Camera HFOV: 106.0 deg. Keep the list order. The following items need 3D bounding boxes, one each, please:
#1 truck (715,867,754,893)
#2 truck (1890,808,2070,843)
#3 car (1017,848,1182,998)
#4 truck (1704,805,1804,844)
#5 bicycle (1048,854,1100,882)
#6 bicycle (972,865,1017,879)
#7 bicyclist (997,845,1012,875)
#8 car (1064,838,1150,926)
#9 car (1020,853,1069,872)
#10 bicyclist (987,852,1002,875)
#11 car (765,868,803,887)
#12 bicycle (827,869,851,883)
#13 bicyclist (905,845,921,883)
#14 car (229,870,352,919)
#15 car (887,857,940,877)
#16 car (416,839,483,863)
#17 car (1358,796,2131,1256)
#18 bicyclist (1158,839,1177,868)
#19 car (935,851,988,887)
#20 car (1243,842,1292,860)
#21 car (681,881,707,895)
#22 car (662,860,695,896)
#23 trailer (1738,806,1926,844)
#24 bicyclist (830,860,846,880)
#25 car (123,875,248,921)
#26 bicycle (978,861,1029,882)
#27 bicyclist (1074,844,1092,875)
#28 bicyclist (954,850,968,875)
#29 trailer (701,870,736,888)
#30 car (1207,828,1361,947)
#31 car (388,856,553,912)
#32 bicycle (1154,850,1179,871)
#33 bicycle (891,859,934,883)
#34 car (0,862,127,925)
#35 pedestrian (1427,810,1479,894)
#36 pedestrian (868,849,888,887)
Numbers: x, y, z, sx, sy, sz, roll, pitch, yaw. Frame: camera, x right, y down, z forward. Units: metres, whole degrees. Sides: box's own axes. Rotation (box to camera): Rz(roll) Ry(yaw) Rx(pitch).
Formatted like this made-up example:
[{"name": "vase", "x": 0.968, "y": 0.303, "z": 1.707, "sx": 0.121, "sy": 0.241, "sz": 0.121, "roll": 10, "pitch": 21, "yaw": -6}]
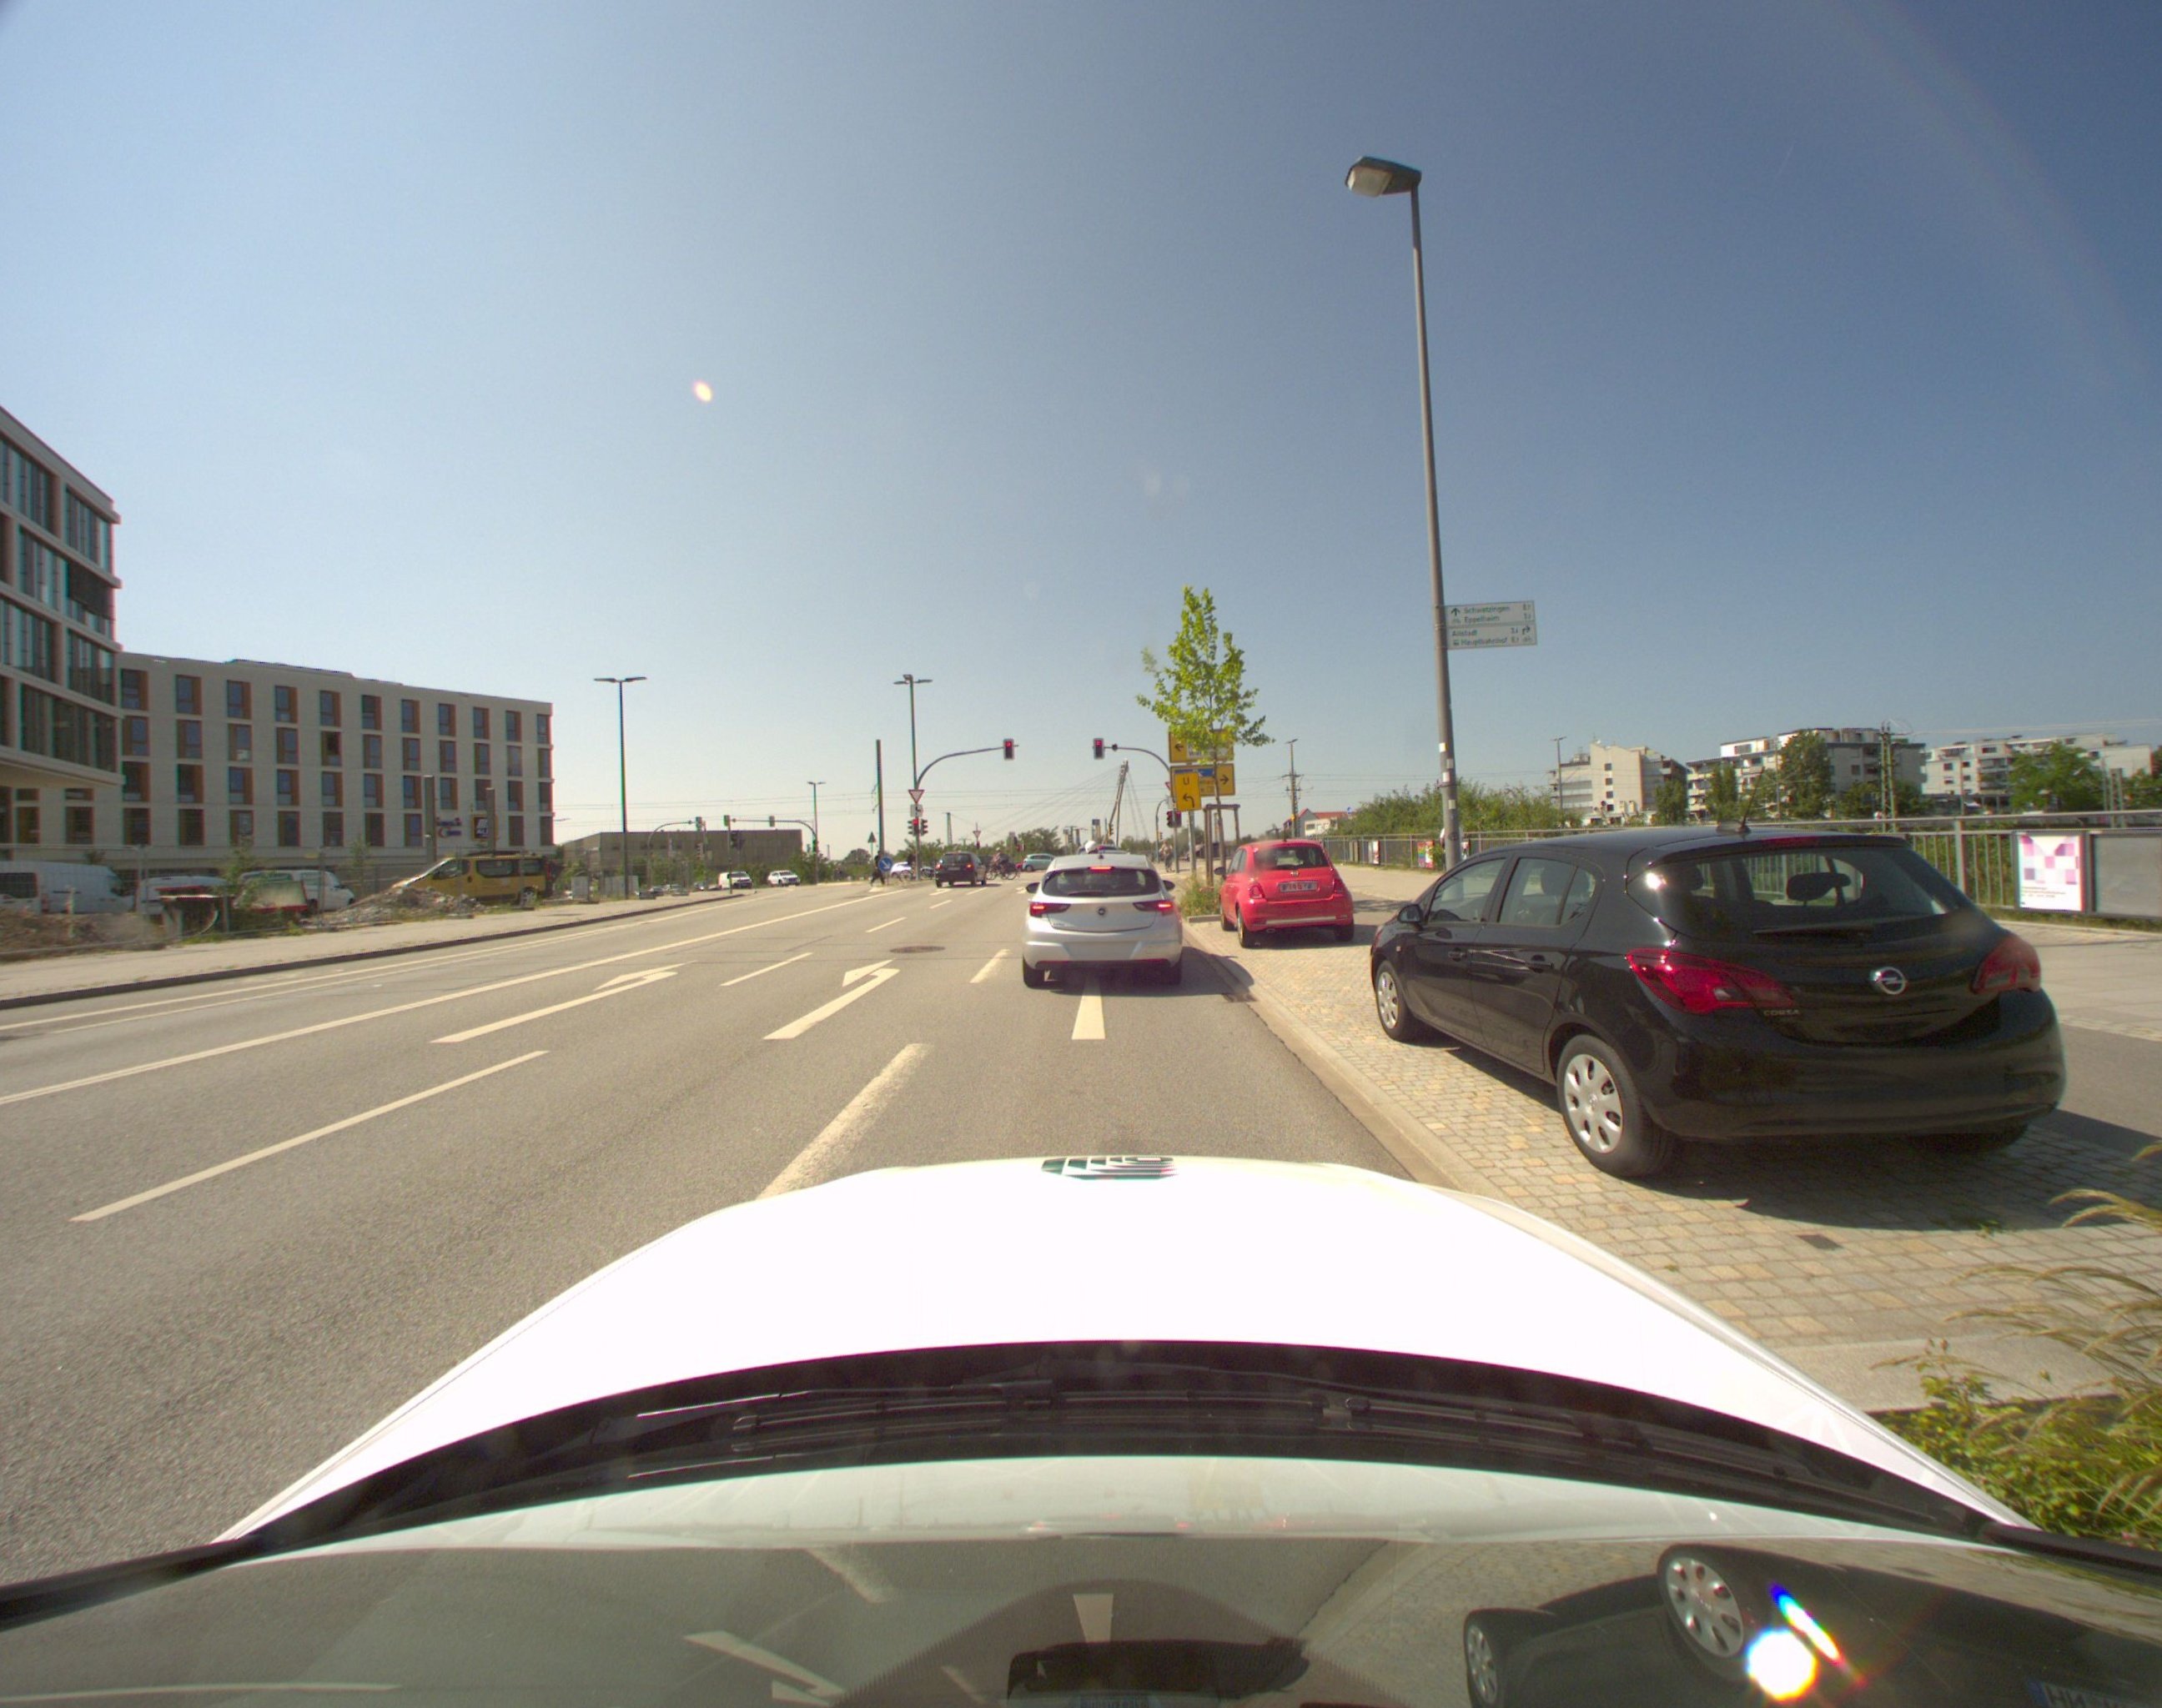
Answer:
[{"name": "truck", "x": -34.525, "y": 2.565, "z": 81.123, "sx": 2.011, "sy": 2.540, "sz": 4.651, "roll": 0, "pitch": -1, "yaw": -44}, {"name": "truck", "x": 87.422, "y": -2.690, "z": 79.161, "sx": 17.855, "sy": 3.204, "sz": 3.724, "roll": 0, "pitch": -1, "yaw": -14}, {"name": "car", "x": 0.250, "y": 0.710, "z": 10.558, "sx": 1.684, "sy": 1.520, "sz": 4.272, "roll": -1, "pitch": 0, "yaw": 1}, {"name": "truck", "x": 59.448, "y": -2.558, "z": 71.993, "sx": 6.477, "sy": 3.204, "sz": 3.722, "roll": 0, "pitch": -1, "yaw": -14}, {"name": "bicycle", "x": -0.346, "y": 0.715, "z": 41.590, "sx": 2.512, "sy": 1.133, "sz": 0.729, "roll": -6, "pitch": 2, "yaw": 4}, {"name": "bicycle", "x": -4.534, "y": 0.940, "z": 42.680, "sx": 2.237, "sy": 0.692, "sz": 0.516, "roll": -1, "pitch": 0, "yaw": 2}, {"name": "bicyclist", "x": -3.922, "y": 0.308, "z": 41.701, "sx": 0.654, "sy": 1.502, "sz": 0.844, "roll": 0, "pitch": -1, "yaw": 3}, {"name": "car", "x": 0.546, "y": 0.555, "z": 17.412, "sx": 1.629, "sy": 1.674, "sz": 3.746, "roll": 0, "pitch": -1, "yaw": 1}, {"name": "car", "x": -2.962, "y": 0.685, "z": 66.304, "sx": 3.769, "sy": 1.362, "sz": 1.536, "roll": -2, "pitch": 0, "yaw": 7}, {"name": "bicyclist", "x": -4.512, "y": 0.496, "z": 42.683, "sx": 0.654, "sy": 1.175, "sz": 0.731, "roll": 0, "pitch": -1, "yaw": 3}, {"name": "car", "x": -29.347, "y": 2.286, "z": 80.433, "sx": 3.996, "sy": 1.815, "sz": 1.943, "roll": -1, "pitch": 0, "yaw": 44}, {"name": "bicycle", "x": -19.178, "y": 1.716, "z": 64.539, "sx": 1.849, "sy": 1.068, "sz": 0.581, "roll": -1, "pitch": -1, "yaw": 25}, {"name": "bicyclist", "x": -8.584, "y": 0.508, "z": 41.588, "sx": 0.591, "sy": 1.887, "sz": 0.637, "roll": 0, "pitch": -1, "yaw": 6}, {"name": "car", "x": -30.862, "y": 1.505, "z": 31.995, "sx": 2.004, "sy": 1.707, "sz": 4.524, "roll": 0, "pitch": -1, "yaw": -24}, {"name": "car", "x": -14.087, "y": 1.085, "z": 68.463, "sx": 3.951, "sy": 1.551, "sz": 1.680, "roll": -2, "pitch": -1, "yaw": 9}, {"name": "car", "x": -53.713, "y": -0.232, "z": 69.308, "sx": 3.990, "sy": 2.014, "sz": 1.992, "roll": 0, "pitch": -1, "yaw": -12}, {"name": "car", "x": 3.006, "y": 0.609, "z": 4.726, "sx": 1.576, "sy": 1.555, "sz": 3.548, "roll": -4, "pitch": 0, "yaw": 1}, {"name": "bicyclist", "x": 4.711, "y": -0.004, "z": 44.273, "sx": 0.813, "sy": 1.569, "sz": 0.953, "roll": -1, "pitch": -1, "yaw": 22}, {"name": "car", "x": -4.944, "y": 0.605, "z": 33.961, "sx": 1.581, "sy": 1.395, "sz": 3.341, "roll": -2, "pitch": -1, "yaw": 1}, {"name": "car", "x": 18.297, "y": -0.310, "z": 79.974, "sx": 4.254, "sy": 1.673, "sz": 1.989, "roll": -1, "pitch": 0, "yaw": -16}, {"name": "car", "x": -42.227, "y": 3.653, "z": 88.878, "sx": 1.675, "sy": 1.389, "sz": 3.742, "roll": 0, "pitch": -1, "yaw": -41}, {"name": "car", "x": -23.776, "y": 1.383, "z": 48.184, "sx": 1.678, "sy": 2.014, "sz": 3.966, "roll": 0, "pitch": -1, "yaw": -25}, {"name": "trailer", "x": 68.482, "y": -2.606, "z": 74.226, "sx": 17.224, "sy": 3.204, "sz": 3.724, "roll": 0, "pitch": -1, "yaw": -14}, {"name": "bicyclist", "x": -19.257, "y": 1.262, "z": 64.557, "sx": 0.764, "sy": 1.610, "sz": 0.954, "roll": -1, "pitch": -1, "yaw": 25}, {"name": "car", "x": -33.395, "y": 1.581, "z": 30.509, "sx": 1.809, "sy": 1.508, "sz": 3.965, "roll": 0, "pitch": -1, "yaw": -27}, {"name": "bicycle", "x": -3.942, "y": 0.912, "z": 41.684, "sx": 2.494, "sy": 1.007, "sz": 0.605, "roll": -1, "pitch": 0, "yaw": 2}, {"name": "bicyclist", "x": 0.105, "y": 0.259, "z": 41.558, "sx": 0.818, "sy": 1.560, "sz": 0.864, "roll": 0, "pitch": -1, "yaw": 5}, {"name": "bicyclist", "x": -7.449, "y": 0.530, "z": 50.687, "sx": 0.716, "sy": 1.504, "sz": 0.825, "roll": -1, "pitch": -1, "yaw": 2}, {"name": "trailer", "x": -37.561, "y": 2.514, "z": 84.304, "sx": 2.011, "sy": 1.776, "sz": 4.233, "roll": 0, "pitch": -1, "yaw": -44}, {"name": "car", "x": 3.102, "y": 0.437, "z": 13.203, "sx": 1.662, "sy": 1.539, "sz": 3.920, "roll": -4, "pitch": 1, "yaw": 3}, {"name": "car", "x": -22.266, "y": 1.013, "z": 29.853, "sx": 1.974, "sy": 1.890, "sz": 4.514, "roll": -1, "pitch": -1, "yaw": 40}, {"name": "bicycle", "x": 4.651, "y": 0.357, "z": 44.133, "sx": 0.669, "sy": 1.127, "sz": 2.378, "roll": -1, "pitch": -1, "yaw": 23}, {"name": "bicycle", "x": -8.587, "y": 0.866, "z": 41.589, "sx": 2.070, "sy": 1.178, "sz": 0.556, "roll": 0, "pitch": -1, "yaw": 6}, {"name": "car", "x": -36.013, "y": 1.308, "z": 28.368, "sx": 2.220, "sy": 2.056, "sz": 4.134, "roll": 0, "pitch": -1, "yaw": -28}, {"name": "pedestrian", "x": 8.231, "y": -0.038, "z": 18.060, "sx": 0.755, "sy": 1.830, "sz": 0.885, "roll": 0, "pitch": -1, "yaw": 2}, {"name": "pedestrian", "x": -10.055, "y": 0.707, "z": 40.433, "sx": 0.736, "sy": 1.863, "sz": 0.755, "roll": 0, "pitch": -1, "yaw": 6}]
